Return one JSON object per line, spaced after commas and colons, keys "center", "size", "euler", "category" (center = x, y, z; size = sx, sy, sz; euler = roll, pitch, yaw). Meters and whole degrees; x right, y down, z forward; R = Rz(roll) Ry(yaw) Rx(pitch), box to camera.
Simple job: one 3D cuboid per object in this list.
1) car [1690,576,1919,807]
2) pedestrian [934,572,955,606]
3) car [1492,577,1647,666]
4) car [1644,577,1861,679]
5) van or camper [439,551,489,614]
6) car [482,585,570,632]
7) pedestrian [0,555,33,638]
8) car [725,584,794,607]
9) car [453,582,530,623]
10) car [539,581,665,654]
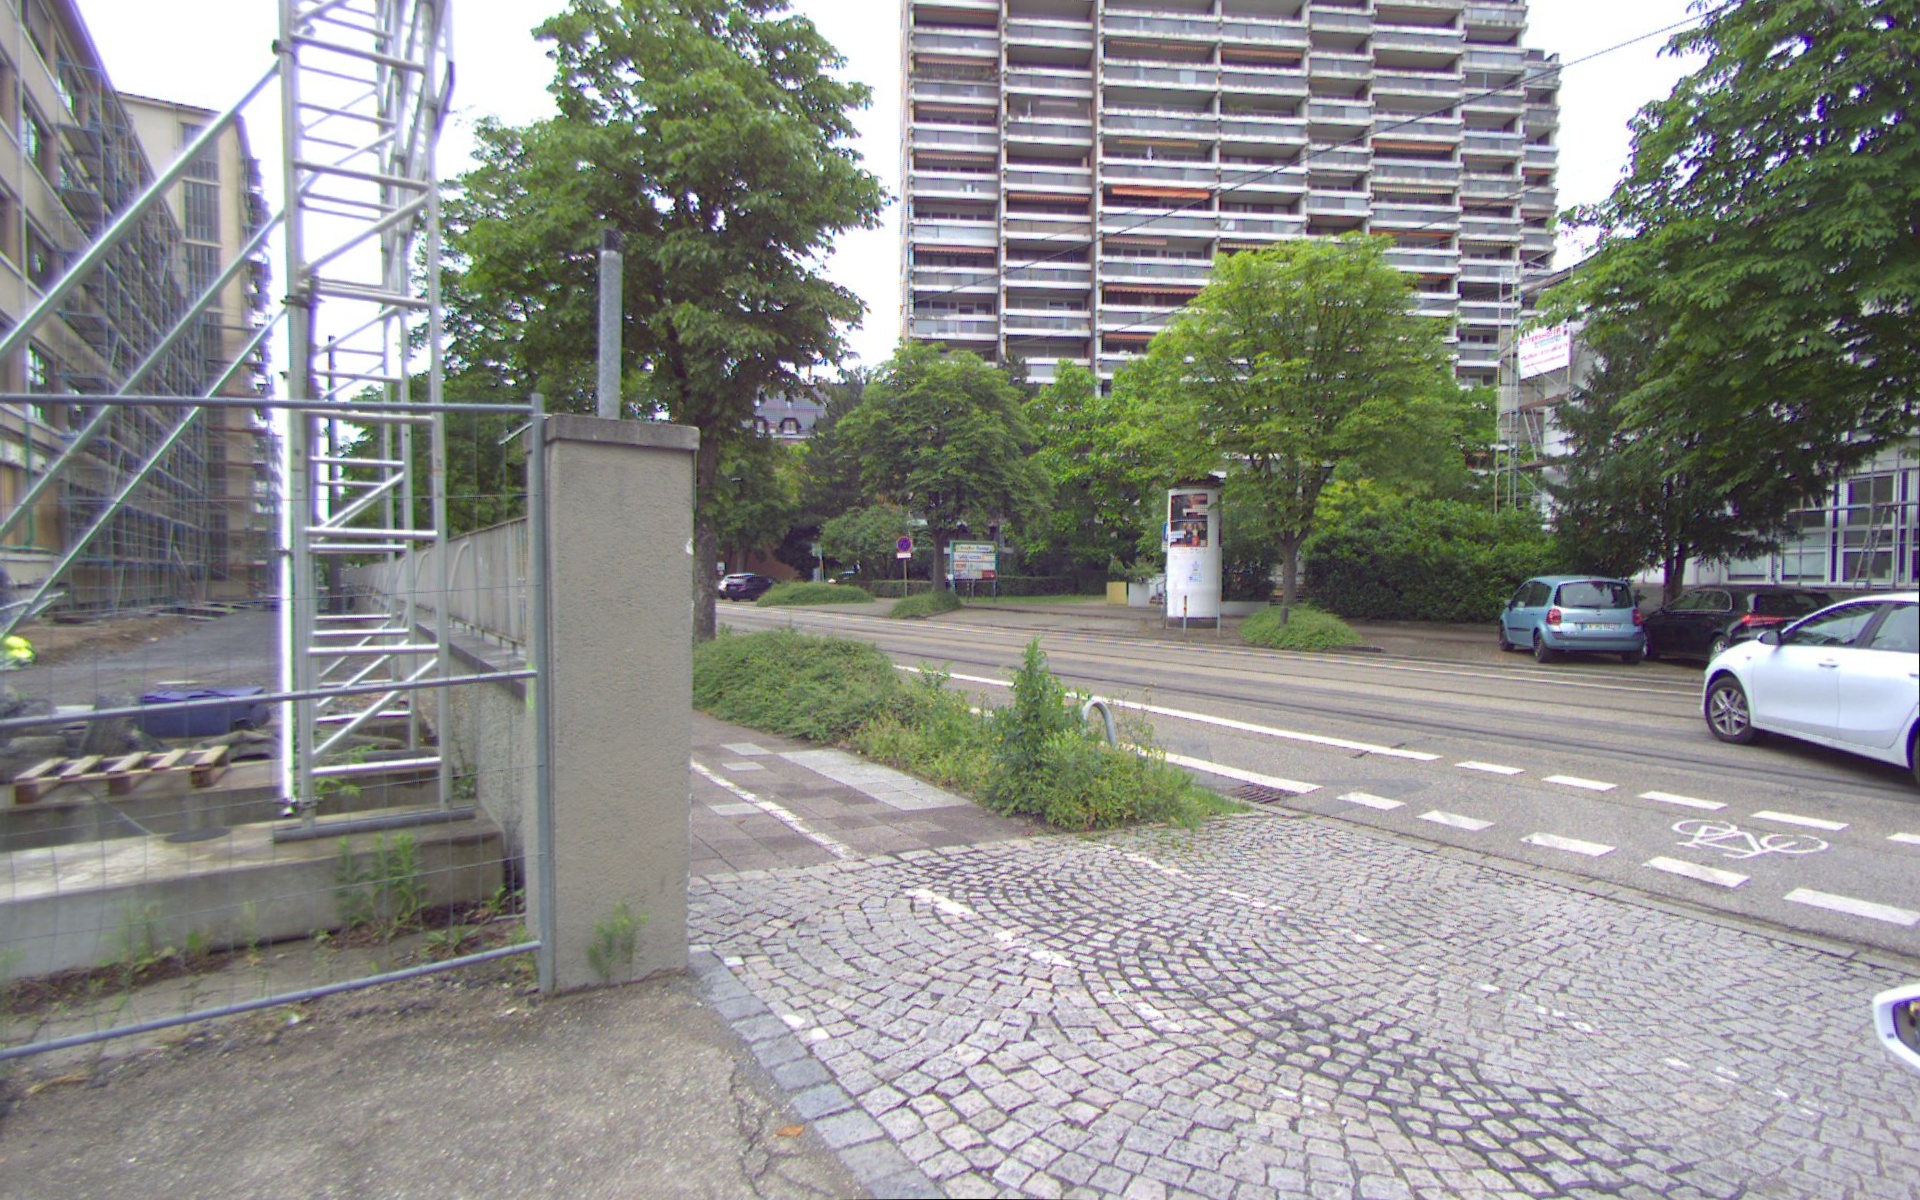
{"center": [7.656, 0.619, 7.794], "size": [1.745, 1.452, 3.980], "euler": [-2, 3, 12], "category": "car"}
{"center": [-0.712, -0.514, 45.989], "size": [0.838, 1.548, 0.515], "euler": [-1, 2, -44], "category": "pedestrian"}
{"center": [11.623, 0.340, 19.397], "size": [1.586, 1.558, 3.338], "euler": [1, 1, 13], "category": "car"}
{"center": [13.120, 0.398, 16.876], "size": [1.586, 1.531, 3.338], "euler": [0, 1, 13], "category": "car"}
{"center": [-23.144, -0.828, 46.927], "size": [1.974, 2.789, 3.973], "euler": [0, 1, -26], "category": "van or camper"}
{"center": [-13.686, 0.221, 31.557], "size": [1.978, 1.328, 3.965], "euler": [-1, 2, -32], "category": "car"}
{"center": [-17.240, -0.071, 17.914], "size": [0.975, 1.457, 0.920], "euler": [-1, 1, -40], "category": "pedestrian"}
{"center": [-11.191, -0.273, 56.201], "size": [3.523, 1.222, 1.504], "euler": [0, 1, -2], "category": "car"}
{"center": [-16.362, 0.050, 34.986], "size": [1.978, 1.328, 3.965], "euler": [-1, 2, -32], "category": "car"}
{"center": [-7.997, 0.319, 22.221], "size": [1.813, 1.437, 3.964], "euler": [-1, 1, -32], "category": "car"}
